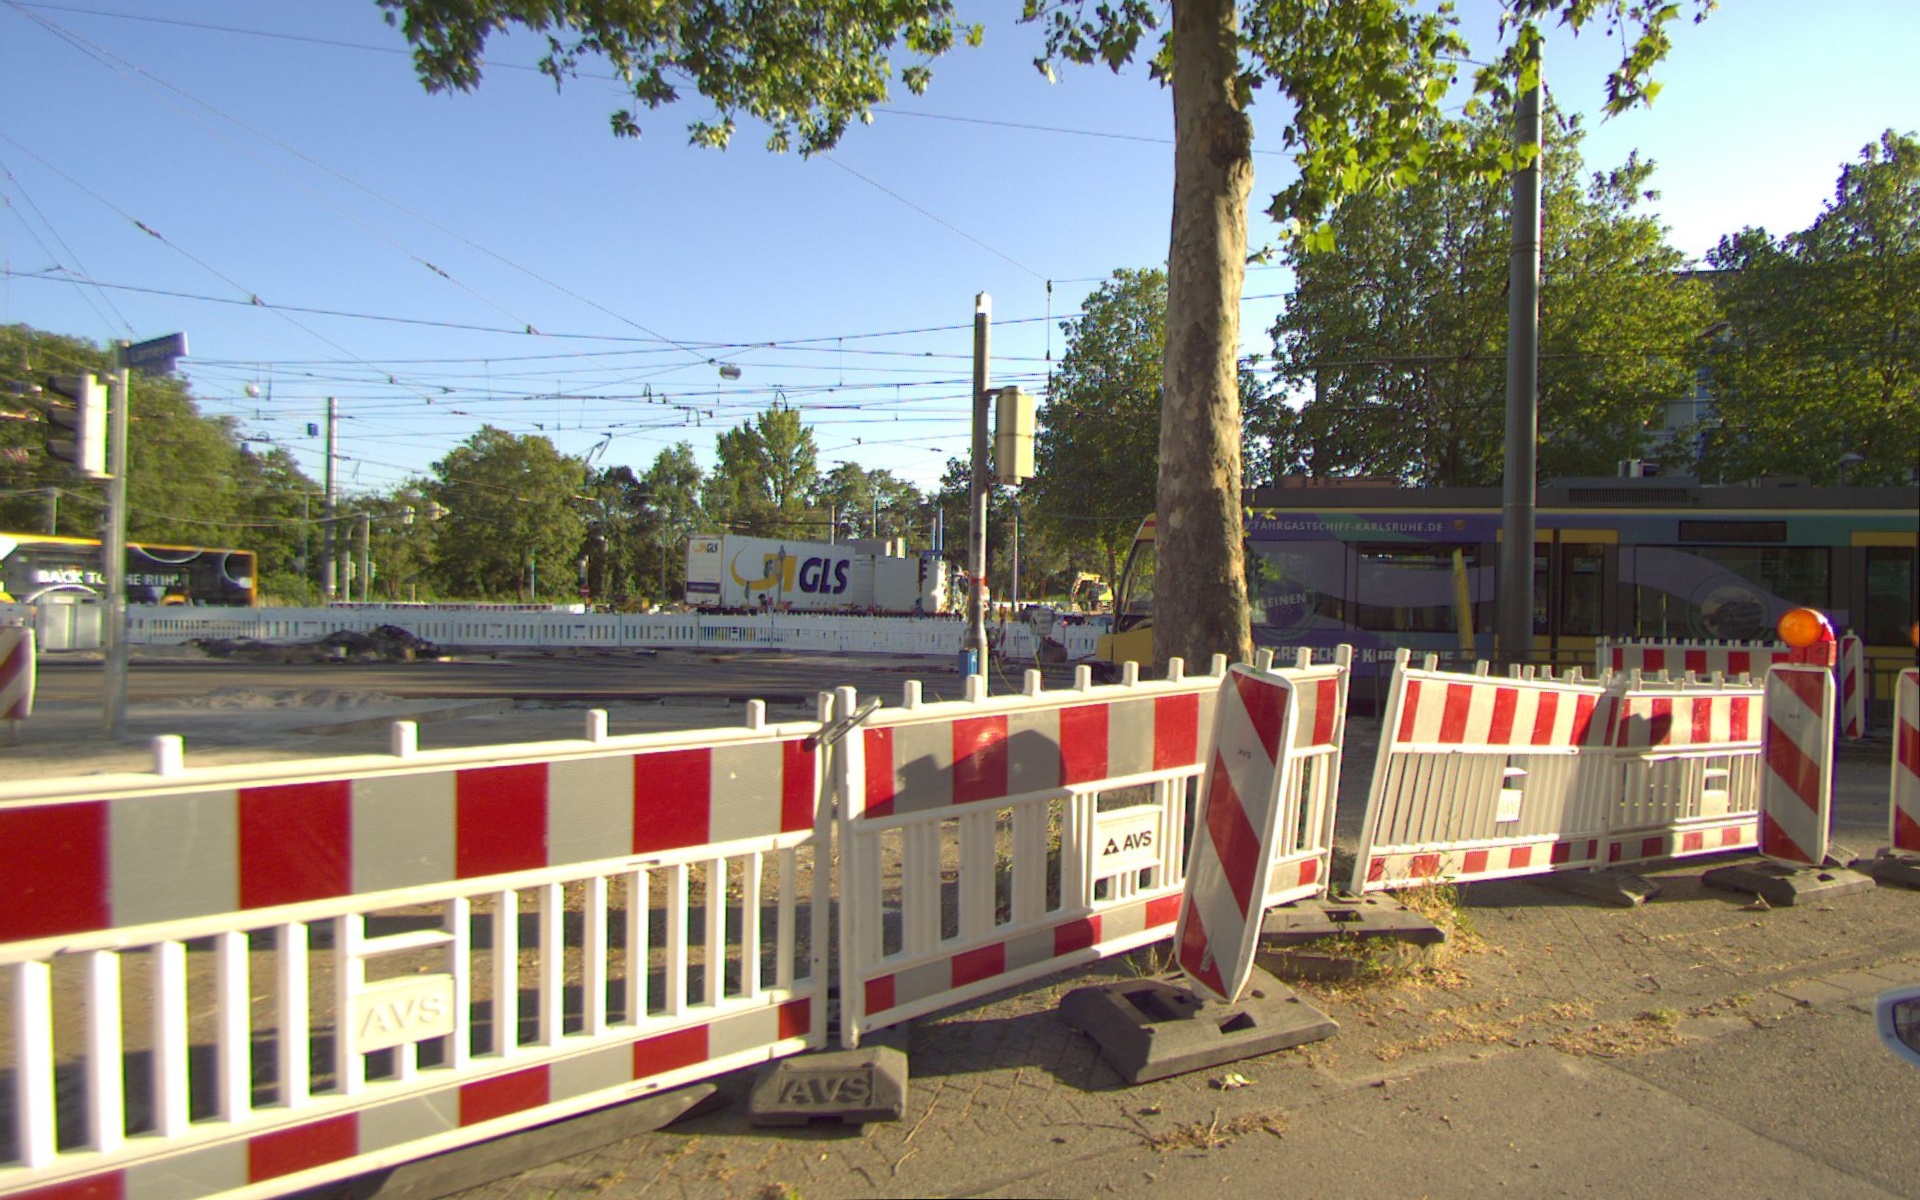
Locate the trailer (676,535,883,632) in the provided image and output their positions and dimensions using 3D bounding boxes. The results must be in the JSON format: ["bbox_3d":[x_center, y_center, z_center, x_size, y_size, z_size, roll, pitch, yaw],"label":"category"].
[{"bbox_3d":[-7.662,-0.593,44.101,2.852,3.848,9.203,1,0,40],"label":"trailer"}]

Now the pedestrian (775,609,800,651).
[{"bbox_3d":[-6.513,1.123,37.982,0.566,1.535,0.591,5,1,37],"label":"pedestrian"}]

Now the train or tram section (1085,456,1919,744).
[{"bbox_3d":[8.608,-0.058,14.789,13.125,3.580,2.861,1,-1,14],"label":"train or tram section"}]

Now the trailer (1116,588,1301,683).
[{"bbox_3d":[6.077,0.846,25.018,4.258,2.143,2.001,1,0,9],"label":"trailer"}]

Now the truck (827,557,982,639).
[{"bbox_3d":[-2.580,0.018,52.246,2.848,3.840,10.416,1,-1,29],"label":"truck"}]

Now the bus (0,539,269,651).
[{"bbox_3d":[-32.855,-0.123,37.589,3.026,3.772,12.306,1,-1,17],"label":"bus"}]
